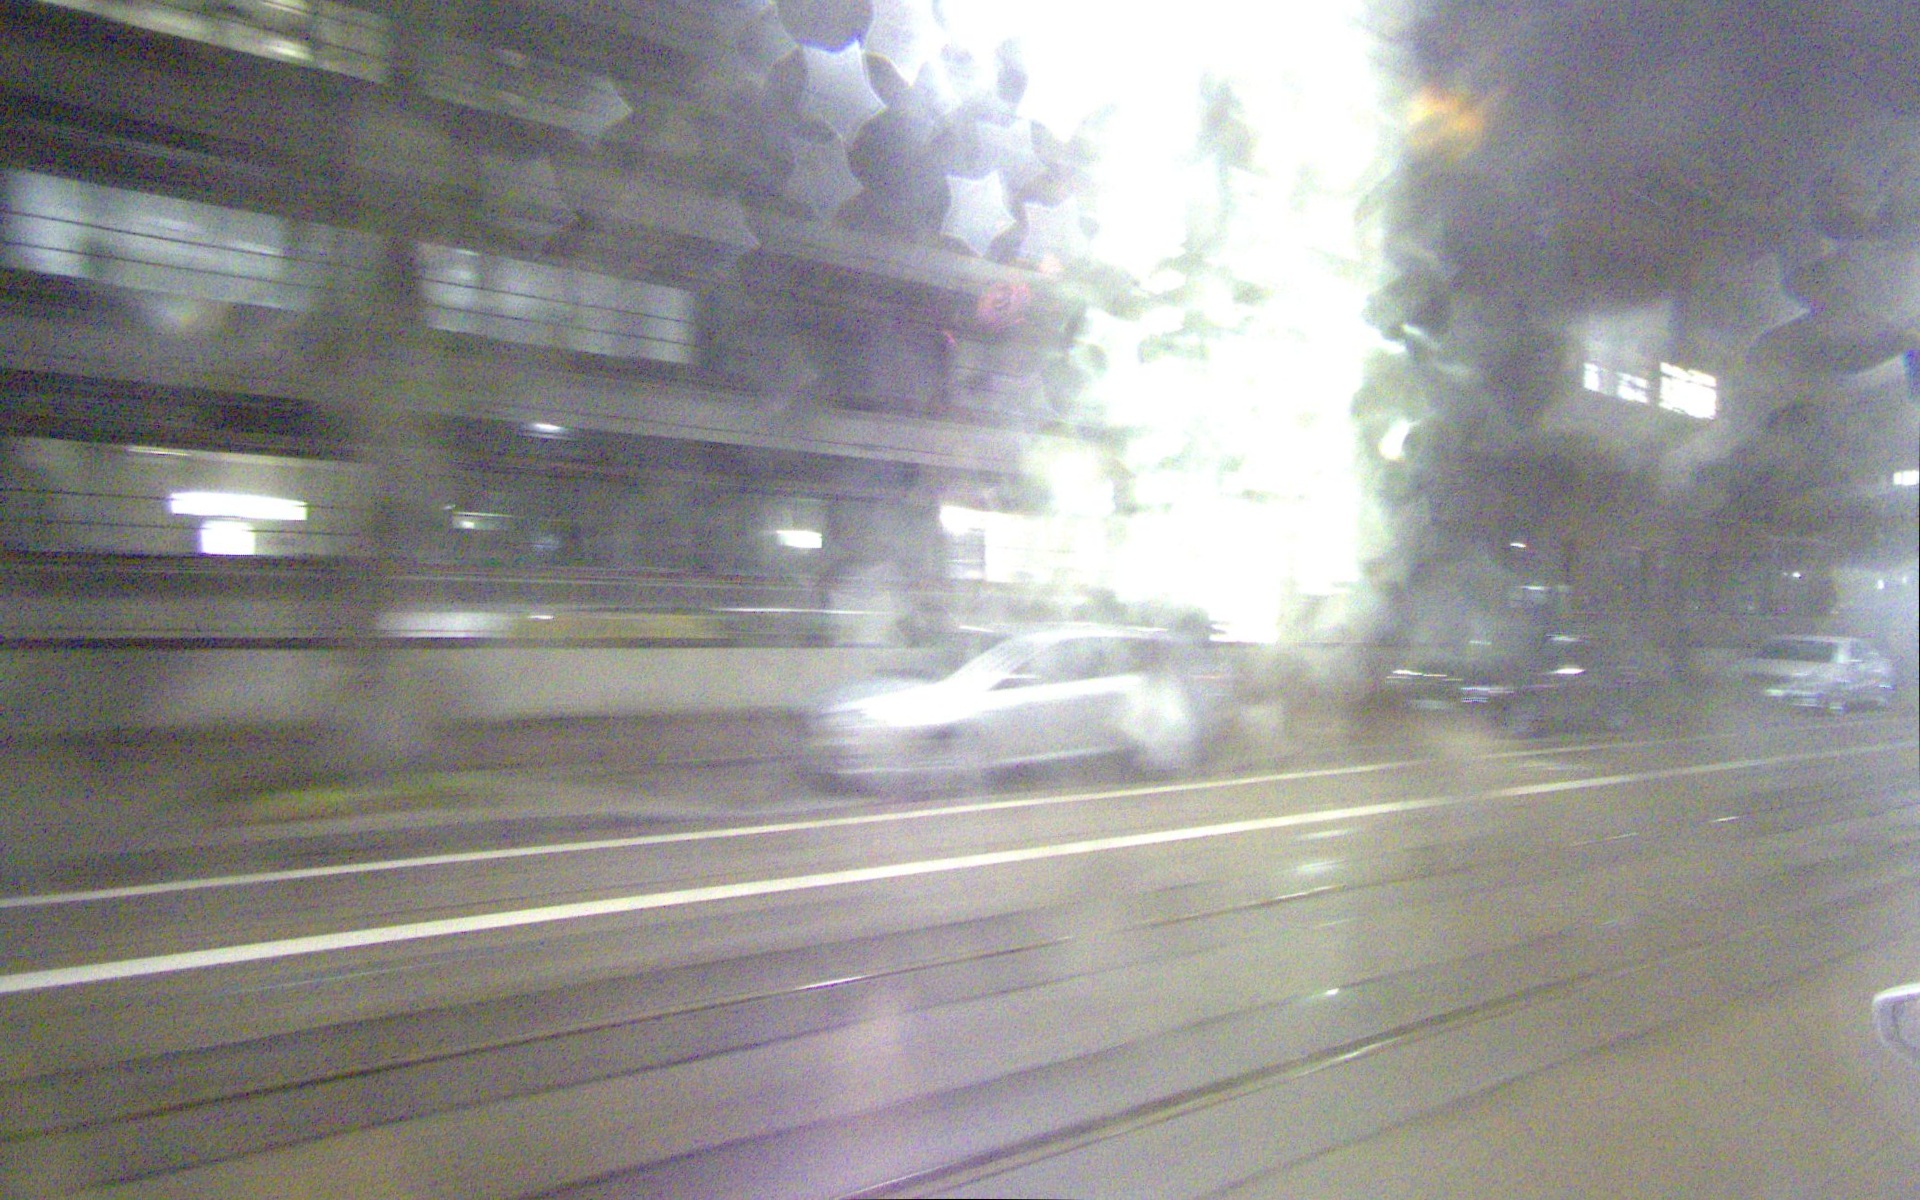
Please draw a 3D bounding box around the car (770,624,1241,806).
[{"bbox_3d":[0.574,0.990,10.056,4.558,1.459,1.763,1,-2,-33],"label":"car"}]

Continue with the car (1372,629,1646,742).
[{"bbox_3d":[8.135,1.161,14.780,4.164,1.442,1.829,2,-2,-33],"label":"car"}]

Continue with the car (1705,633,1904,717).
[{"bbox_3d":[17.098,1.429,20.267,4.910,1.482,1.876,2,-2,-35],"label":"car"}]
